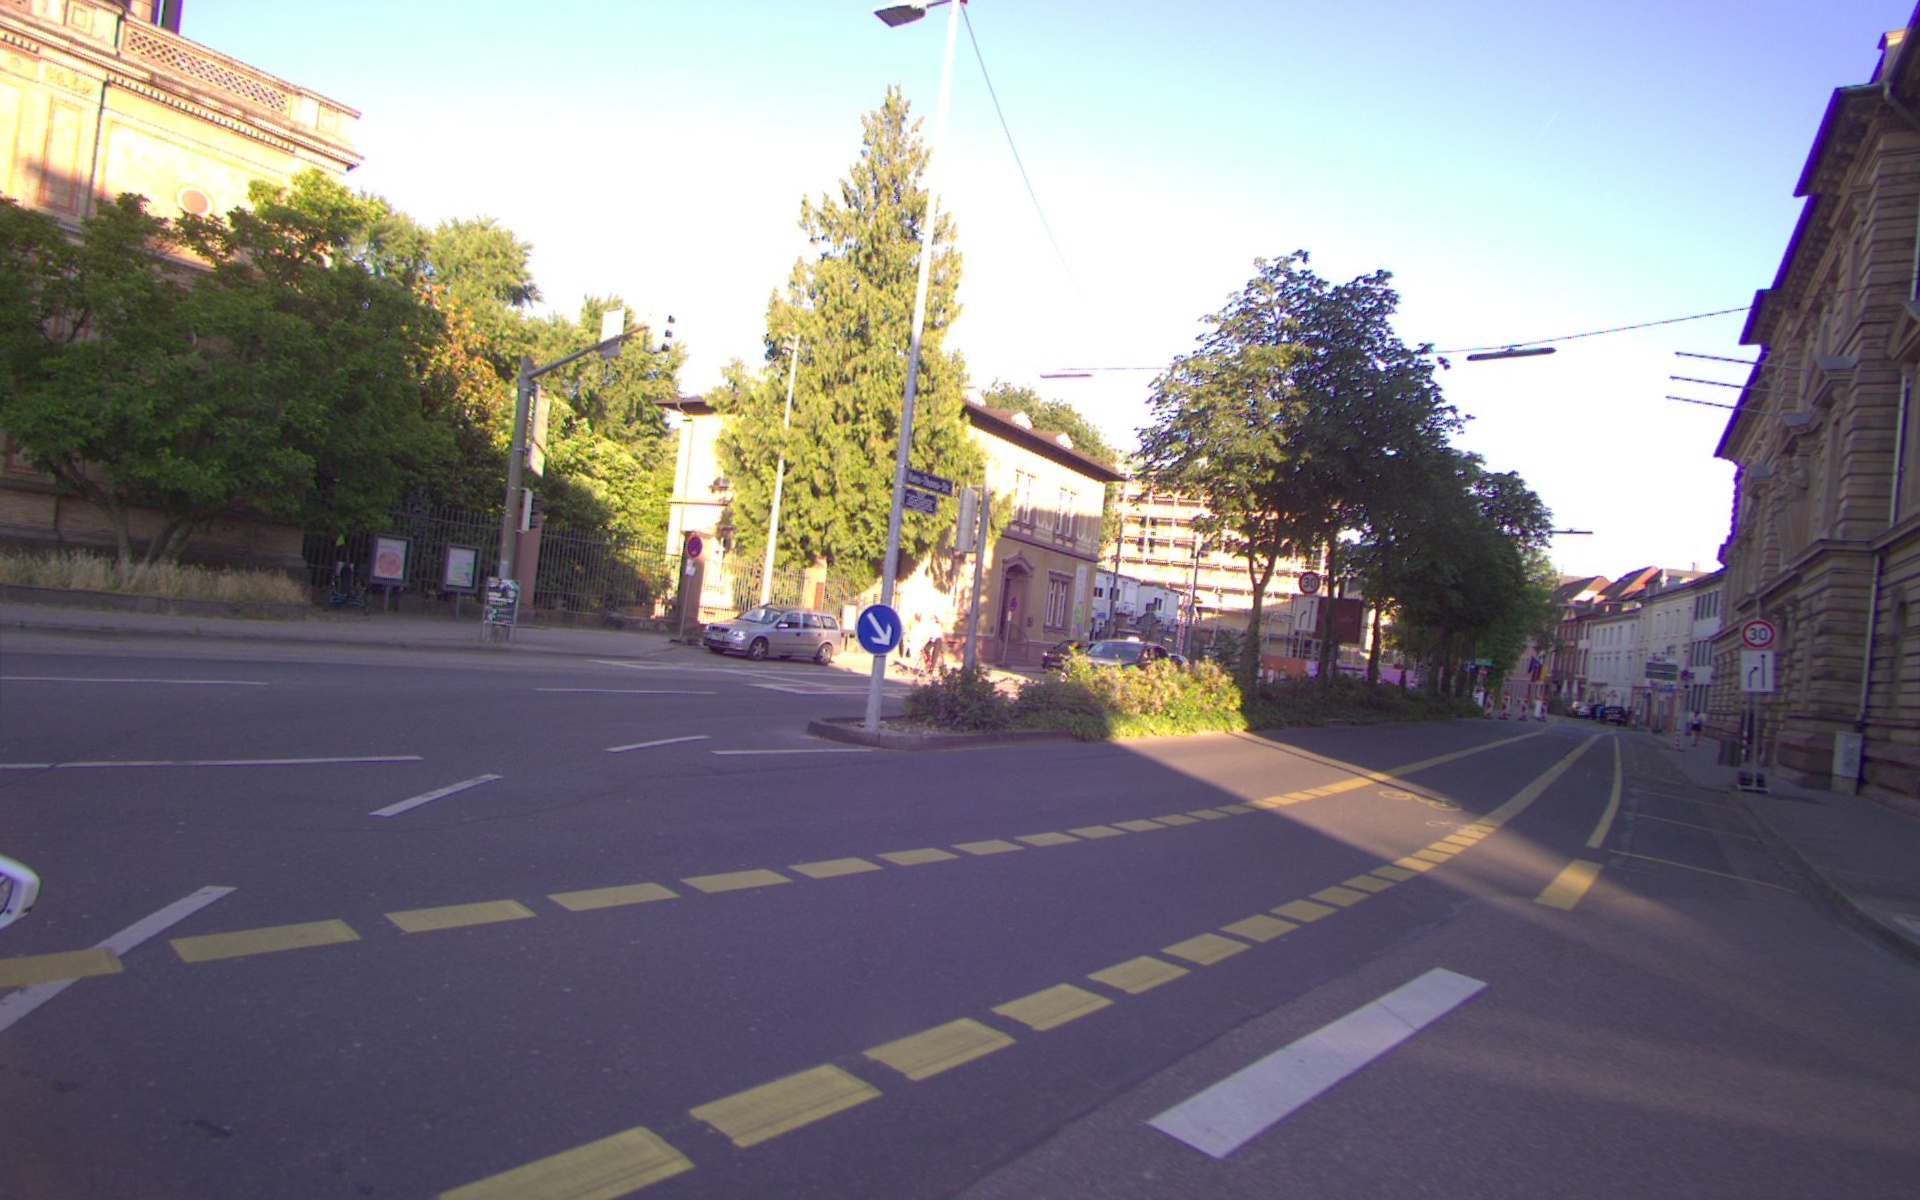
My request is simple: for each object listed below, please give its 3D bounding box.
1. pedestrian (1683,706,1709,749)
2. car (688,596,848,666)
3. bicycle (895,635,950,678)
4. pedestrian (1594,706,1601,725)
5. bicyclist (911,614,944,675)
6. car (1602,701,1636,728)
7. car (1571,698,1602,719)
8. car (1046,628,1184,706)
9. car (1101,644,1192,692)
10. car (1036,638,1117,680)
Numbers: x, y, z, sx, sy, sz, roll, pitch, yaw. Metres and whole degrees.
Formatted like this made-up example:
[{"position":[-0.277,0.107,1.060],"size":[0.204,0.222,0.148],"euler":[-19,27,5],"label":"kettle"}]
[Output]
[{"position":[34.174,5.912,46.715],"size":[0.762,1.875,0.810],"euler":[6,0,34],"label":"pedestrian"},{"position":[-5.083,0.872,27.143],"size":[1.687,1.462,4.189],"euler":[6,-2,34],"label":"car"},{"position":[-1.045,1.606,28.298],"size":[0.489,1.114,1.660],"euler":[4,-2,40],"label":"bicycle"},{"position":[53.675,9.706,84.696],"size":[0.358,1.509,0.330],"euler":[6,0,25],"label":"pedestrian"},{"position":[-0.924,1.264,28.559],"size":[0.658,1.663,0.518],"euler":[4,-1,41],"label":"bicyclist"},{"position":[55.239,9.565,84.411],"size":[1.687,1.870,3.824],"euler":[6,-1,25],"label":"car"},{"position":[59.844,10.377,96.164],"size":[1.686,1.678,3.826],"euler":[6,-1,22],"label":"car"},{"position":[3.937,1.701,25.030],"size":[1.805,1.631,4.069],"euler":[5,-2,32],"label":"car"},{"position":[6.791,2.490,36.371],"size":[1.805,1.407,4.014],"euler":[5,-2,32],"label":"car"},{"position":[5.129,2.605,43.808],"size":[1.805,1.509,4.069],"euler":[5,-2,32],"label":"car"}]
